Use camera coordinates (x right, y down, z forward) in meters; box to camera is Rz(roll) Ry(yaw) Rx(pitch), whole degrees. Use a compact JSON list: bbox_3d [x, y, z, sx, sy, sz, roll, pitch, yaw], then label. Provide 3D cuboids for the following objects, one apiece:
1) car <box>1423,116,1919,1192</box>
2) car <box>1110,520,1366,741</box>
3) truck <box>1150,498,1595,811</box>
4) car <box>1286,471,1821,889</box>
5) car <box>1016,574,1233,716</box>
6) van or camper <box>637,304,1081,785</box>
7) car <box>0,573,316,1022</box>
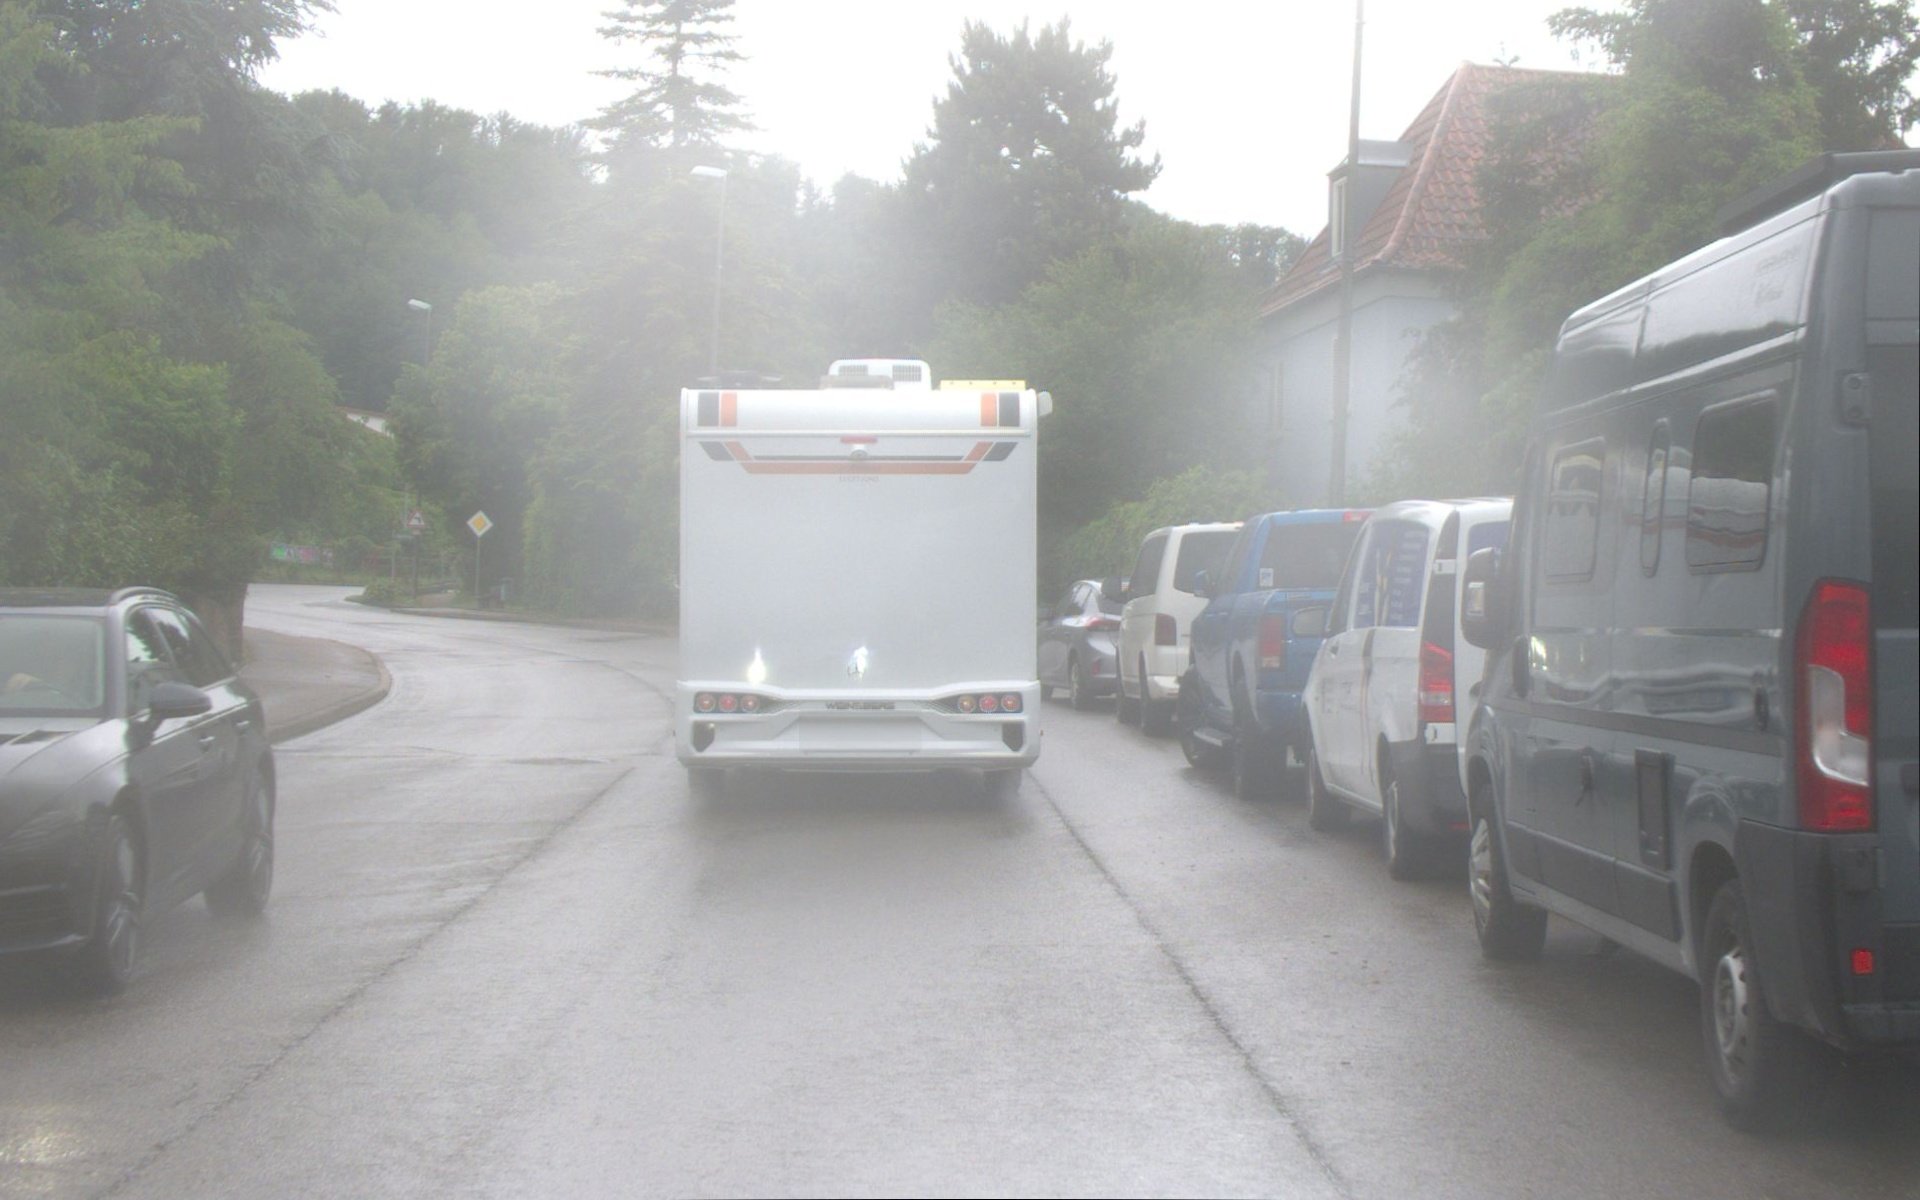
[{"bbox_3d":[2.909,0.095,10.964,2.031,2.497,5.956,0,1,0],"label":"car"},{"bbox_3d":[2.578,0.245,33.029,1.860,1.914,5.080,1,1,-2],"label":"car"},{"bbox_3d":[2.724,0.303,24.466,2.113,1.845,6.619,2,1,-2],"label":"truck"},{"bbox_3d":[2.878,0.329,17.857,1.827,1.836,5.270,0,1,0],"label":"car"},{"bbox_3d":[1.798,0.469,38.890,1.685,1.452,4.058,1,1,-8],"label":"car"},{"bbox_3d":[-0.574,-0.287,23.911,2.616,2.843,6.030,2,-1,1],"label":"van or camper"},{"bbox_3d":[-3.785,0.650,13.287,1.774,1.432,4.362,-2,1,-1],"label":"car"}]
